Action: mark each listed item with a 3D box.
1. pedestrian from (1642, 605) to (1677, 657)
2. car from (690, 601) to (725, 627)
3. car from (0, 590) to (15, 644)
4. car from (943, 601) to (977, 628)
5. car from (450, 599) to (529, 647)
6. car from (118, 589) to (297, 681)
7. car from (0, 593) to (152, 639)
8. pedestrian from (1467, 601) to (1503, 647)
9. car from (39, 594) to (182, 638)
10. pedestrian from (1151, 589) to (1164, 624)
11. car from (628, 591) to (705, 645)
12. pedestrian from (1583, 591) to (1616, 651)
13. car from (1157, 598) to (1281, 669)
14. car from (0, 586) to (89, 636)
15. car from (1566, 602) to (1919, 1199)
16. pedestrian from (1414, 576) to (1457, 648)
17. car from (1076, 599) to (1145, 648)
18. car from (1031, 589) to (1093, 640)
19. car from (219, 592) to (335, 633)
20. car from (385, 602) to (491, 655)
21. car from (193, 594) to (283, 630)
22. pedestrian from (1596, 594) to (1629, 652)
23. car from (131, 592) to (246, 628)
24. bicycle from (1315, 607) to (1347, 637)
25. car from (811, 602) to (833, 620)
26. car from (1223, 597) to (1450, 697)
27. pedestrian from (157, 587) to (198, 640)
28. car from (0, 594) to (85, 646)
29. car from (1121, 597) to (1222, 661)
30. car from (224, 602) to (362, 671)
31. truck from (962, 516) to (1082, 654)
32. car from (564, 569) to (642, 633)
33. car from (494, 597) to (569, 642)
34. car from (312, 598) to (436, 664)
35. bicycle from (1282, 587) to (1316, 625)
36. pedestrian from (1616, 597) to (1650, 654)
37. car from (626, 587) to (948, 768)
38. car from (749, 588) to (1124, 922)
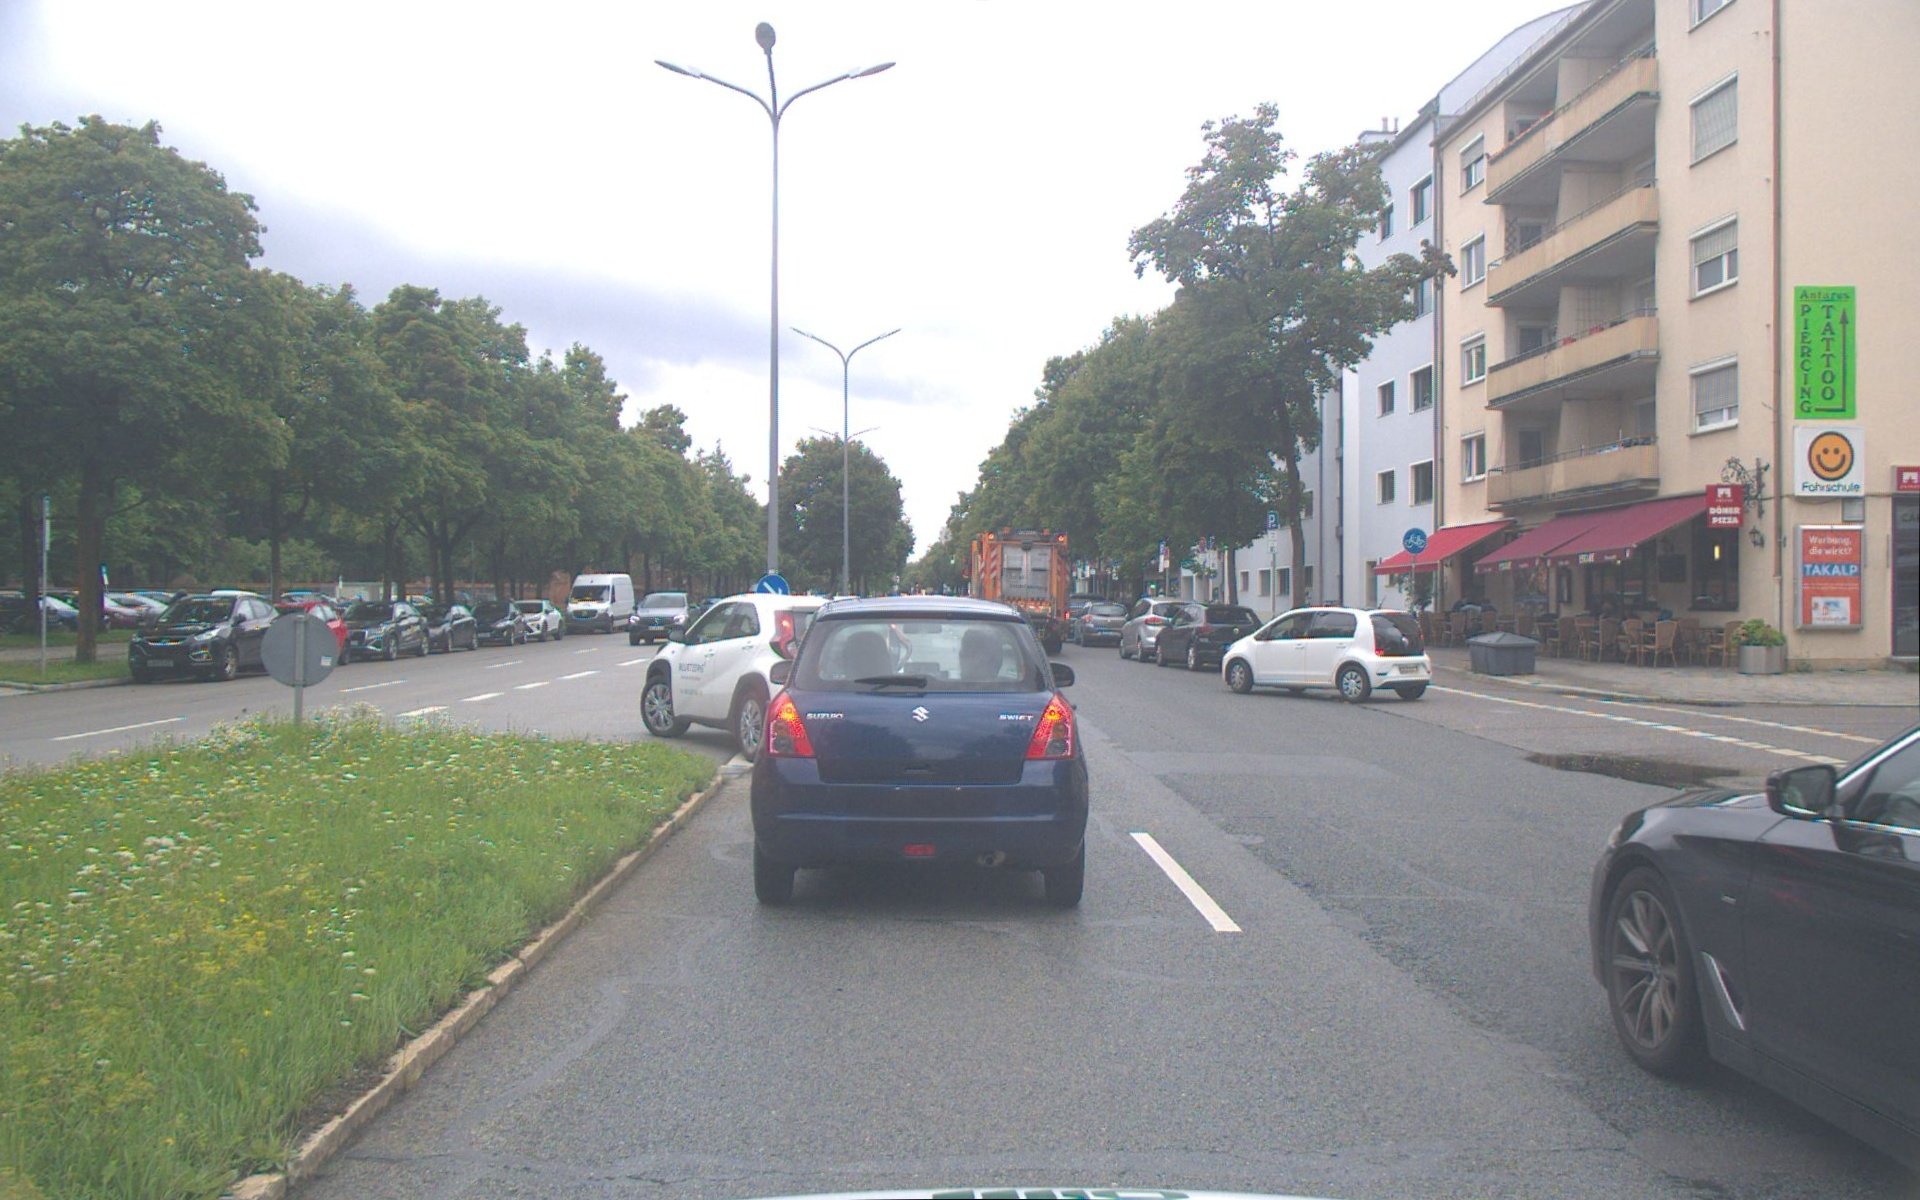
[{"bbox_3d":[14.539,0.644,34.376,0.527,1.072,0.487,0,0,-2],"label":"pedestrian"},{"bbox_3d":[-16.702,0.920,109.435,1.849,1.564,4.311,-3,0,-3],"label":"car"},{"bbox_3d":[-28.138,0.468,44.805,3.911,1.467,1.997,0,0,-7],"label":"car"},{"bbox_3d":[-0.020,0.863,97.816,1.793,1.549,3.768,0,0,-3],"label":"car"},{"bbox_3d":[-15.568,0.744,54.893,1.786,1.473,3.995,-2,0,-6],"label":"car"},{"bbox_3d":[-14.960,0.689,33.133,1.785,1.729,4.237,0,-1,-3],"label":"car"},{"bbox_3d":[-28.699,0.516,53.790,3.911,1.467,1.997,0,0,-7],"label":"car"},{"bbox_3d":[13.926,0.631,43.863,0.728,1.184,0.646,0,0,-2],"label":"pedestrian"},{"bbox_3d":[-29.280,0.544,57.133,3.911,1.467,1.997,0,0,-7],"label":"car"},{"bbox_3d":[10.076,0.313,84.470,0.489,1.763,0.732,-2,0,-2],"label":"pedestrian"},{"bbox_3d":[-9.385,0.552,53.176,1.784,1.617,4.500,0,1,-1],"label":"car"},{"bbox_3d":[14.680,0.478,37.950,0.527,1.362,0.552,0,0,-3],"label":"pedestrian"},{"bbox_3d":[5.720,0.701,37.001,1.794,1.499,3.883,0,0,-6],"label":"car"},{"bbox_3d":[-29.041,0.324,50.425,3.911,1.467,1.997,0,0,-7],"label":"car"},{"bbox_3d":[3.180,0.795,3.683,1.785,1.503,4.689,2,0,-2],"label":"car"},{"bbox_3d":[12.976,0.327,45.127,0.855,1.963,0.757,0,0,-18],"label":"pedestrian"},{"bbox_3d":[4.967,0.752,55.010,1.793,1.549,3.768,0,0,-3],"label":"car"},{"bbox_3d":[3.666,0.487,60.076,1.793,1.776,4.506,0,0,-3],"label":"car"},{"bbox_3d":[-27.441,0.503,66.500,3.905,1.598,1.814,0,0,0],"label":"car"},{"bbox_3d":[-15.311,0.797,48.731,1.784,1.434,4.000,-2,0,1],"label":"car"},{"bbox_3d":[-42.176,0.693,96.679,4.415,2.070,1.999,0,0,-2],"label":"car"},{"bbox_3d":[14.570,0.508,36.925,0.527,1.290,0.486,0,0,-3],"label":"pedestrian"},{"bbox_3d":[-32.277,0.424,69.323,3.911,1.467,1.997,0,0,-7],"label":"car"},{"bbox_3d":[13.455,0.782,60.066,0.609,1.065,2.195,0,0,-1],"label":"bicycle"},{"bbox_3d":[-12.435,0.982,149.614,1.779,1.473,4.780,-1,0,-2],"label":"car"},{"bbox_3d":[6.106,0.721,27.114,1.674,1.516,3.390,0,0,-37],"label":"car"},{"bbox_3d":[-22.735,0.398,48.063,0.778,1.521,0.856,0,0,-1],"label":"pedestrian"},{"bbox_3d":[-27.864,0.557,47.817,4.053,1.467,1.998,0,0,-4],"label":"car"},{"bbox_3d":[5.297,0.692,41.931,1.793,1.549,4.521,0,0,-3],"label":"car"},{"bbox_3d":[-15.388,0.838,38.347,1.785,1.505,3.807,0,-1,-3],"label":"car"},{"bbox_3d":[1.642,-0.418,50.441,2.979,3.619,13.672,0,0,-1],"label":"truck"},{"bbox_3d":[-15.992,0.002,74.479,2.096,2.690,7.103,-1,1,-1],"label":"car"},{"bbox_3d":[-15.586,0.724,60.356,1.785,1.554,4.296,-2,-1,-3],"label":"car"},{"bbox_3d":[-15.179,0.771,43.059,1.784,1.627,4.112,0,0,0],"label":"car"},{"bbox_3d":[13.174,0.217,64.382,0.688,1.432,2.592,-2,0,-1],"label":"bicycle"},{"bbox_3d":[14.552,0.549,35.782,0.527,1.235,0.487,0,0,-2],"label":"pedestrian"},{"bbox_3d":[-1.828,0.671,16.494,1.804,1.580,3.680,0,0,-32],"label":"car"},{"bbox_3d":[-0.132,0.708,9.605,1.717,1.531,3.999,0,0,-1],"label":"car"}]
